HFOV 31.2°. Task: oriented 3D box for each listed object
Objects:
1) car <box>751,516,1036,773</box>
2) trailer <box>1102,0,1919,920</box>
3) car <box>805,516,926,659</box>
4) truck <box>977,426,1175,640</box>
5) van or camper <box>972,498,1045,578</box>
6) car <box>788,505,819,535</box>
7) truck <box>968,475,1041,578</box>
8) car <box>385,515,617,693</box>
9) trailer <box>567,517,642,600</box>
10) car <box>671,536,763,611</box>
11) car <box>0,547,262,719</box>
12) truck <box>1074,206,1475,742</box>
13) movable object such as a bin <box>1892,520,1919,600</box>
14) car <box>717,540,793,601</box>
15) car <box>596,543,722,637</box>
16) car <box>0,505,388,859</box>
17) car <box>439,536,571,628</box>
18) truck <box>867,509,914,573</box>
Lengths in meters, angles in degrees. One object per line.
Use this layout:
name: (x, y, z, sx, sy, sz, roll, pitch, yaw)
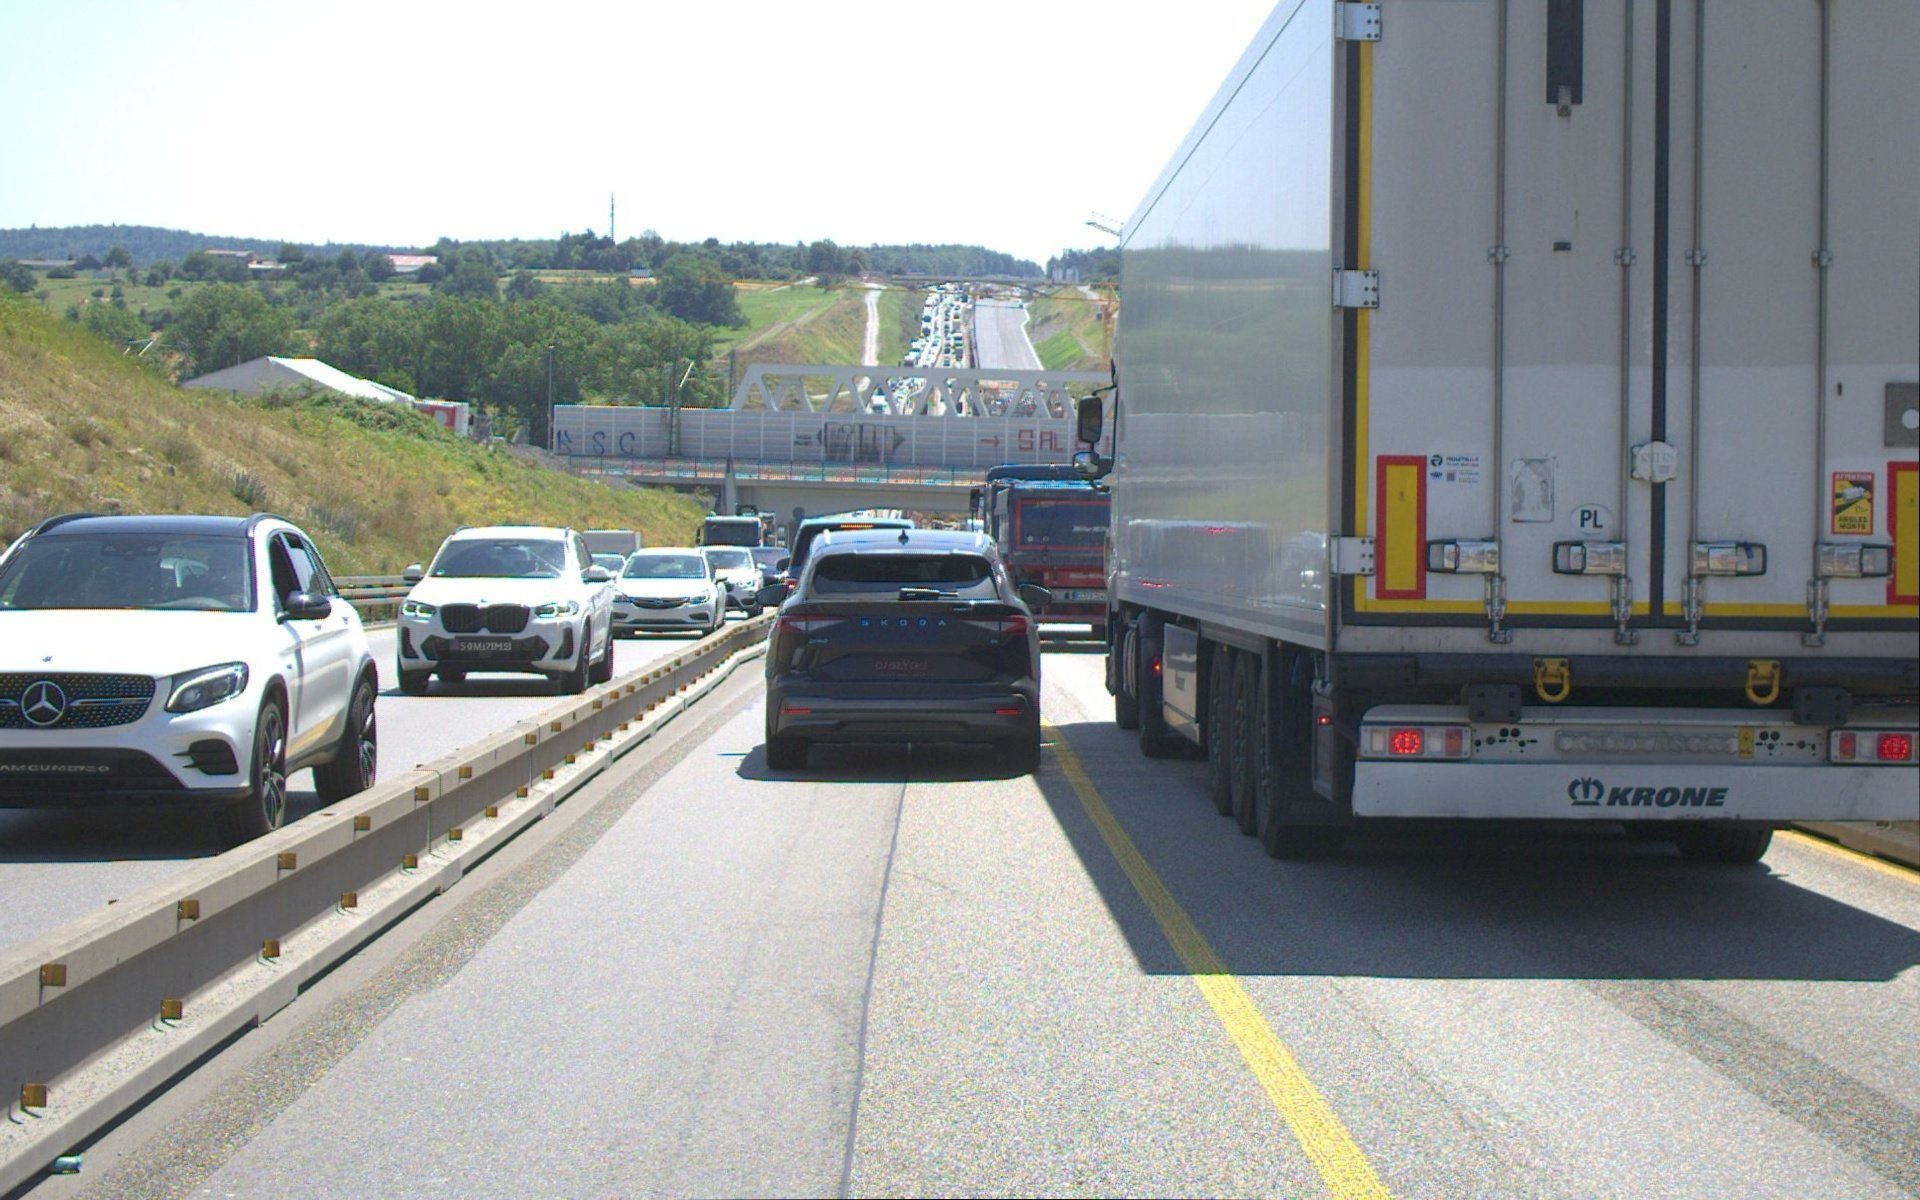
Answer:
car: (-0.438, 0.240, 23.401, 1.800, 1.615, 3.298, 0, 1, -1)
trailer: (2.657, -0.873, 20.281, 2.801, 4.044, 14.118, 0, 1, -1)
car: (-1.195, -0.189, 44.649, 1.475, 1.789, 3.298, 0, 1, 0)
truck: (1.735, -1.069, 56.938, 2.814, 3.124, 12.838, 0, 1, 0)
van or camper: (1.398, -1.825, 100.982, 1.993, 2.237, 4.000, 2, 1, 0)
car: (-9.439, -4.805, 207.352, 1.732, 1.787, 3.581, 1, 1, -1)
truck: (1.755, -2.956, 138.180, 2.517, 3.946, 7.600, 2, 1, -1)
car: (-4.692, -0.004, 35.692, 1.891, 1.702, 4.562, 1, 1, -1)
trailer: (-8.820, -1.053, 85.611, 1.646, 2.018, 4.271, 0, 1, -3)
car: (-5.313, -0.600, 75.514, 1.815, 1.587, 4.290, 1, 1, -1)
car: (-7.337, 0.243, 30.156, 1.701, 1.374, 3.967, 1, 1, -1)
truck: (2.473, -0.981, 28.566, 2.776, 4.044, 4.905, 0, 1, -1)
movable object such as a bin: (36.157, -1.418, 123.169, 2.887, 2.899, 9.479, 1, 1, 0)
car: (-5.800, -0.861, 97.787, 1.891, 1.702, 4.561, 0, 1, 0)
car: (-4.967, -0.199, 57.232, 1.806, 1.472, 4.280, 1, 1, -1)
car: (-4.282, 0.337, 18.060, 1.812, 1.632, 4.362, 0, 1, 0)
car: (-8.214, -0.361, 62.406, 1.899, 1.579, 4.515, 1, 1, -1)
truck: (-4.271, -3.617, 212.166, 2.767, 3.871, 4.964, 1, 1, -1)
